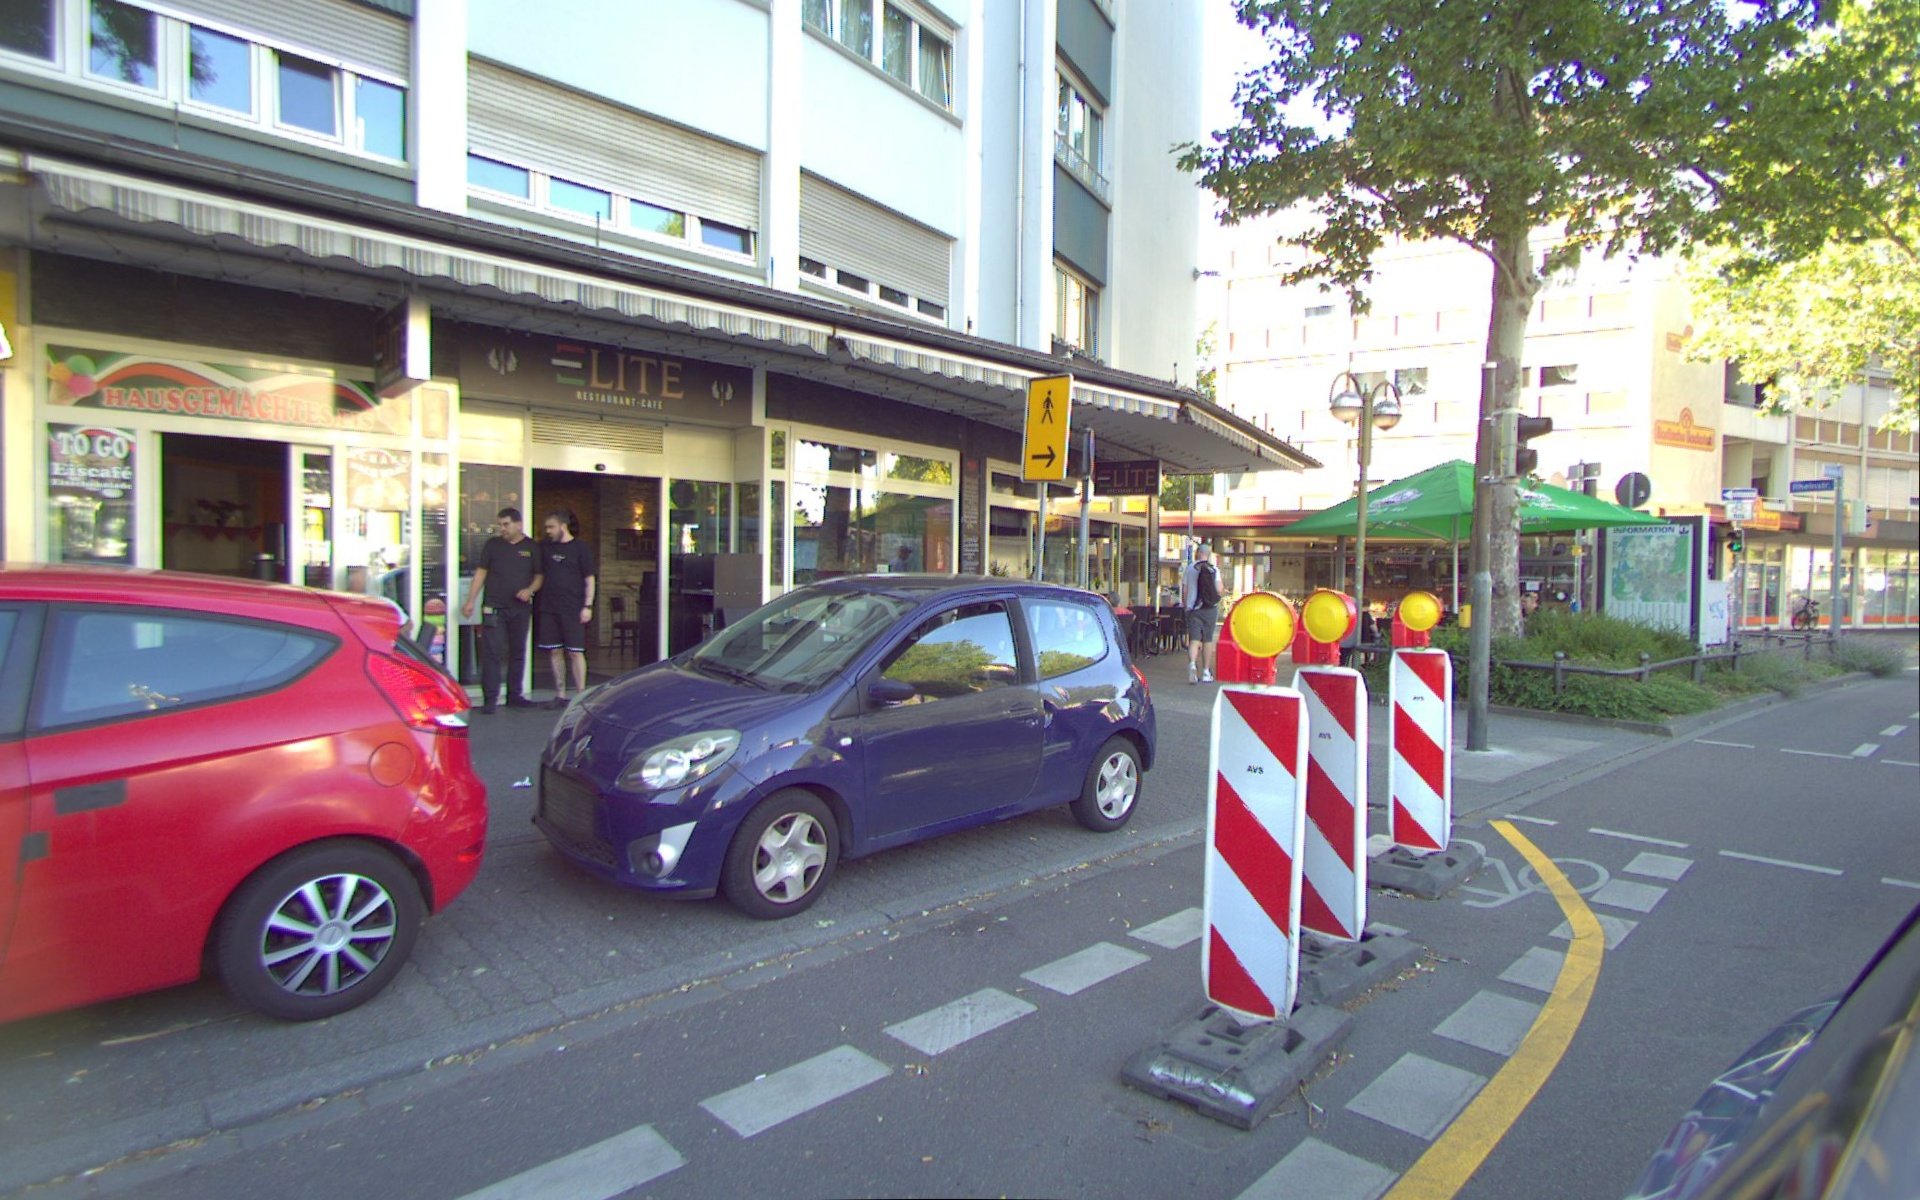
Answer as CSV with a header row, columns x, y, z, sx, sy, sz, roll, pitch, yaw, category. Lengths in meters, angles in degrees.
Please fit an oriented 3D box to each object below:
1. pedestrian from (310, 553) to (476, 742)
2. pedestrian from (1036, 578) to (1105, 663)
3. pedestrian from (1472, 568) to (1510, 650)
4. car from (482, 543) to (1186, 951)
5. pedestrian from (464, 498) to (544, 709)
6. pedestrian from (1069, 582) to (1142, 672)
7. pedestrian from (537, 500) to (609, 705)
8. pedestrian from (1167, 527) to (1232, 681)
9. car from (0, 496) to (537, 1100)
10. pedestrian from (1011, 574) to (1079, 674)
x,y,z,sx,sy,sz,roll,pitch,yaw,category
-4.453,0.320,7.933,0.937,1.352,1.069,0,2,-42,pedestrian
1.646,0.290,15.062,0.776,1.207,0.648,0,1,-34,pedestrian
10.950,0.170,20.865,0.624,1.657,0.525,2,1,34,pedestrian
-0.522,0.513,5.705,3.551,1.485,1.769,-1,5,-44,car
-4.039,0.014,8.964,0.547,1.800,0.395,-1,4,-43,pedestrian
2.039,0.360,14.276,0.685,1.207,0.881,0,1,-18,pedestrian
-3.490,0.014,9.138,0.545,1.803,0.397,1,3,-11,pedestrian
3.220,0.032,13.575,0.642,1.983,0.882,1,1,26,pedestrian
-3.509,0.480,3.005,3.761,1.614,1.784,-1,5,-45,car
1.153,0.313,13.855,0.685,1.323,0.793,1,1,-13,pedestrian
